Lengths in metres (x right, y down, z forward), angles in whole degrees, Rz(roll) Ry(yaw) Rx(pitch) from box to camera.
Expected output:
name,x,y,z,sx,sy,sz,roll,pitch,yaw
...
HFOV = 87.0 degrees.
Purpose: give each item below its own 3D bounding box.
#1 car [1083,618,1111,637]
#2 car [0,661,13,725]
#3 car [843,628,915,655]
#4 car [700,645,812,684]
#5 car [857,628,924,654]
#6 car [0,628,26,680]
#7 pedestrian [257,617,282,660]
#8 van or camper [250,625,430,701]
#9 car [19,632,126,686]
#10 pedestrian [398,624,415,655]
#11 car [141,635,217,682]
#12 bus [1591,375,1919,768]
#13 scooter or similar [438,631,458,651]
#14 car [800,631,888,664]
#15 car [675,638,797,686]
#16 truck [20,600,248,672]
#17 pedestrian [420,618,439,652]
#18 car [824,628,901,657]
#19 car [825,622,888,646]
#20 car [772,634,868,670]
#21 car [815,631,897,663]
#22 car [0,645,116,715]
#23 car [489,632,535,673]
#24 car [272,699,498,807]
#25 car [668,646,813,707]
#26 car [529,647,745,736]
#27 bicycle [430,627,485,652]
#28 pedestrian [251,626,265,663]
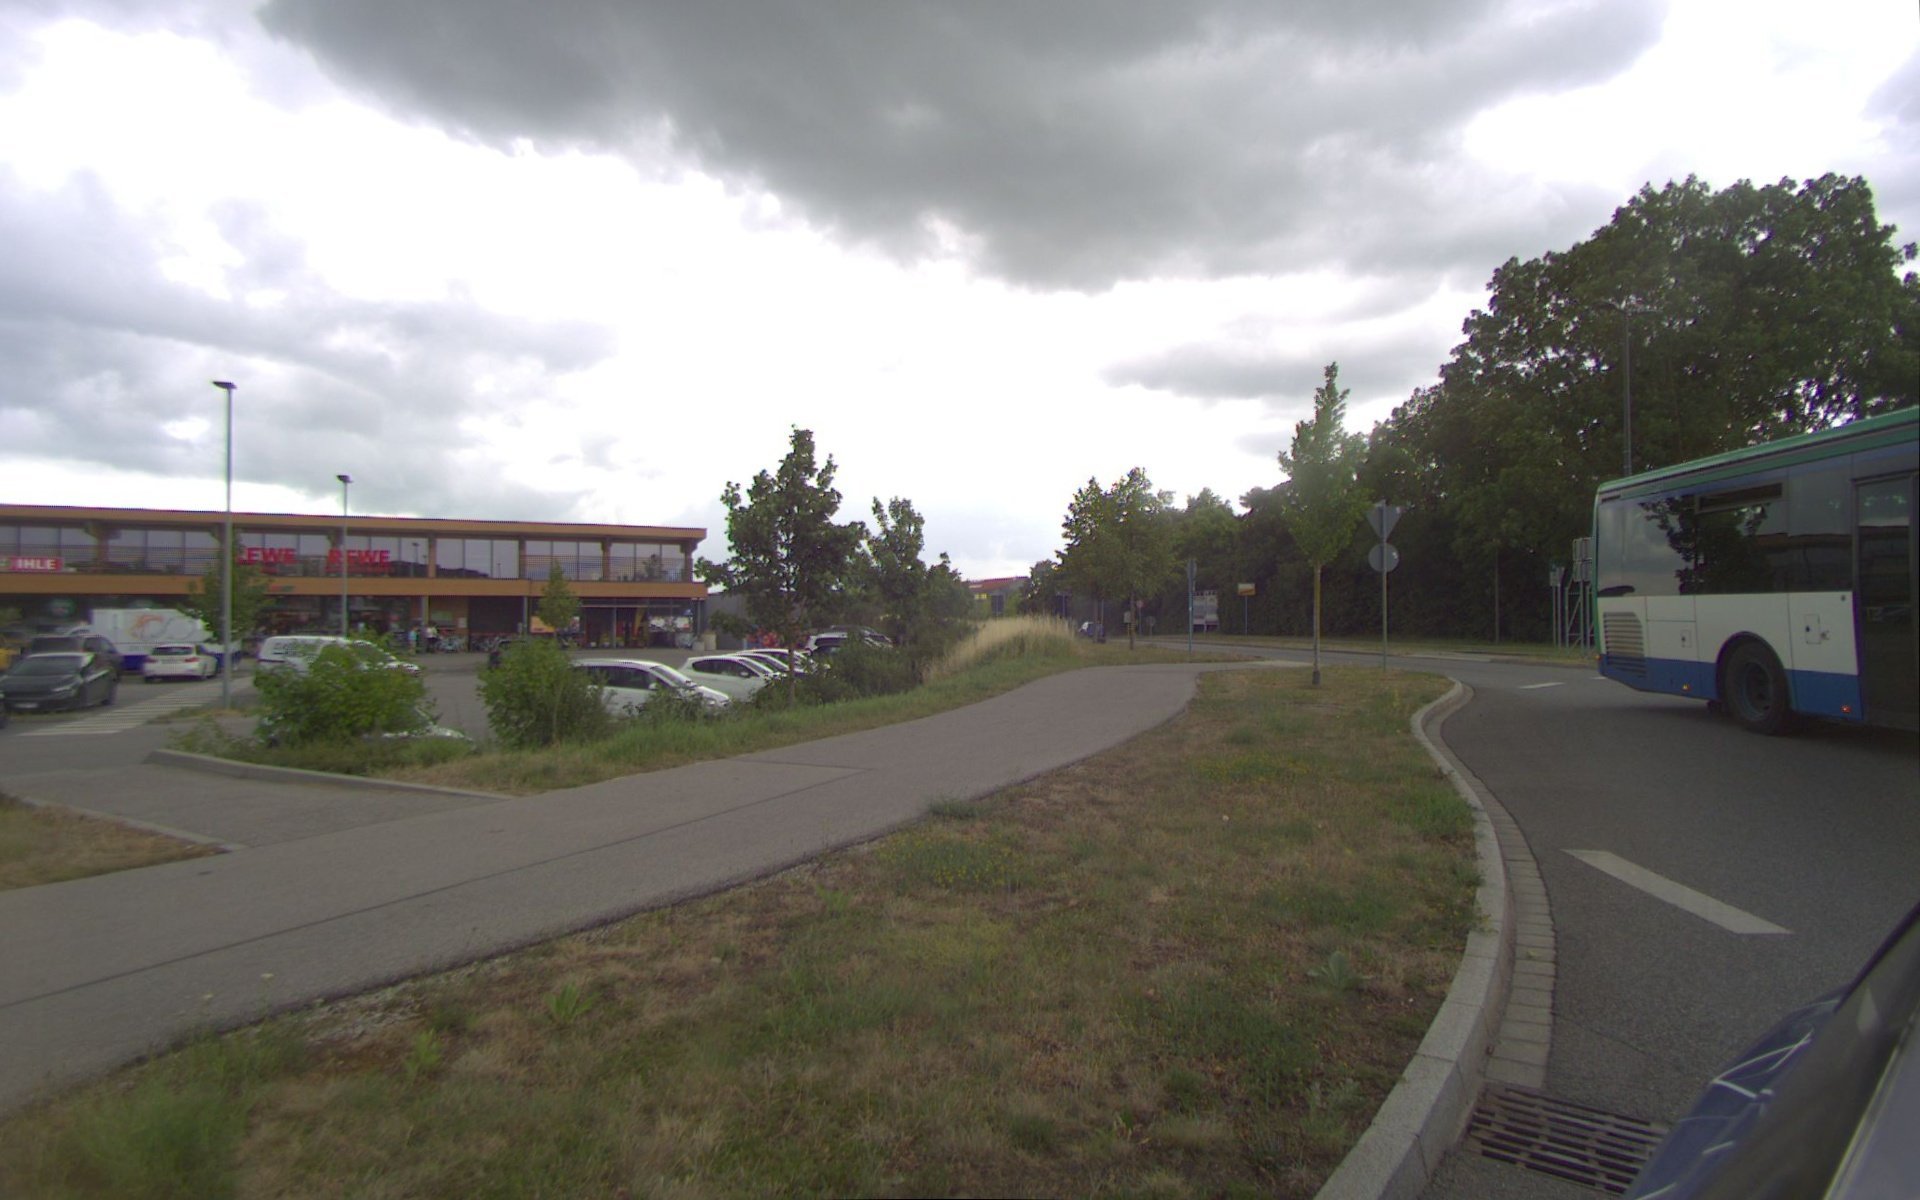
name,x,y,z,sx,sy,sz,roll,pitch,yaw
car,11.803,2.384,87.500,1.729,1.449,4.081,-2,-3,-2
car,-21.826,2.109,21.299,1.799,1.416,4.004,0,0,-28
car,-4.599,2.375,57.779,3.823,1.483,1.694,-1,-1,7
car,-7.168,2.256,35.649,3.613,1.311,1.413,0,-1,7
car,-4.203,2.486,61.706,3.823,1.483,1.694,-1,-1,7
car,-35.301,1.963,36.068,1.736,1.878,4.006,-1,-1,-24
pedestrian,-32.853,1.818,48.165,0.913,2.039,0.806,0,-1,-29
van or camper,-19.060,1.920,31.180,4.725,2.125,1.760,-3,-2,8
car,-32.215,2.095,36.884,1.814,1.747,4.126,-2,0,-25
pedestrian,-30.118,2.148,55.096,0.788,1.678,0.751,0,-1,-25
car,-29.593,2.183,38.461,1.697,1.549,4.004,0,-1,-29
bus,9.532,-0.276,11.019,2.483,3.299,5.449,0,1,8
scooter or similar,-29.877,2.411,59.065,0.983,1.141,0.794,0,-4,-32
car,-5.441,2.211,47.674,3.823,1.483,1.694,-1,-1,7
car,-6.986,1.939,31.841,3.602,1.311,1.718,-1,0,-6
truck,-35.126,1.455,43.449,7.111,2.843,2.979,0,-1,-29
pedestrian,-30.675,2.030,58.544,0.910,1.923,0.794,0,-4,-32
car,-5.153,2.273,53.958,3.823,1.483,1.694,-1,-1,7
car,-6.662,2.151,64.711,3.918,1.462,1.886,-1,-1,-8
car,-6.045,2.229,43.929,3.823,1.483,1.694,-1,-1,7
car,-5.203,2.347,50.779,3.823,1.483,1.694,-1,-1,7
car,-24.032,2.068,26.925,1.697,1.573,4.004,0,-1,-29
car,-19.174,2.206,43.228,1.680,1.588,3.675,0,-1,-26
car,-9.456,2.422,16.603,3.698,1.390,1.565,-2,-1,29
car,-6.371,2.215,29.708,3.920,1.527,2.002,-1,0,-5
car,-7.363,2.062,23.307,4.363,1.694,1.799,2,0,3
bicycle,-28.781,2.268,58.036,2.810,1.326,0.981,0,-1,-25
pedestrian,-37.403,2.363,53.927,0.514,1.974,0.579,0,-1,-25
